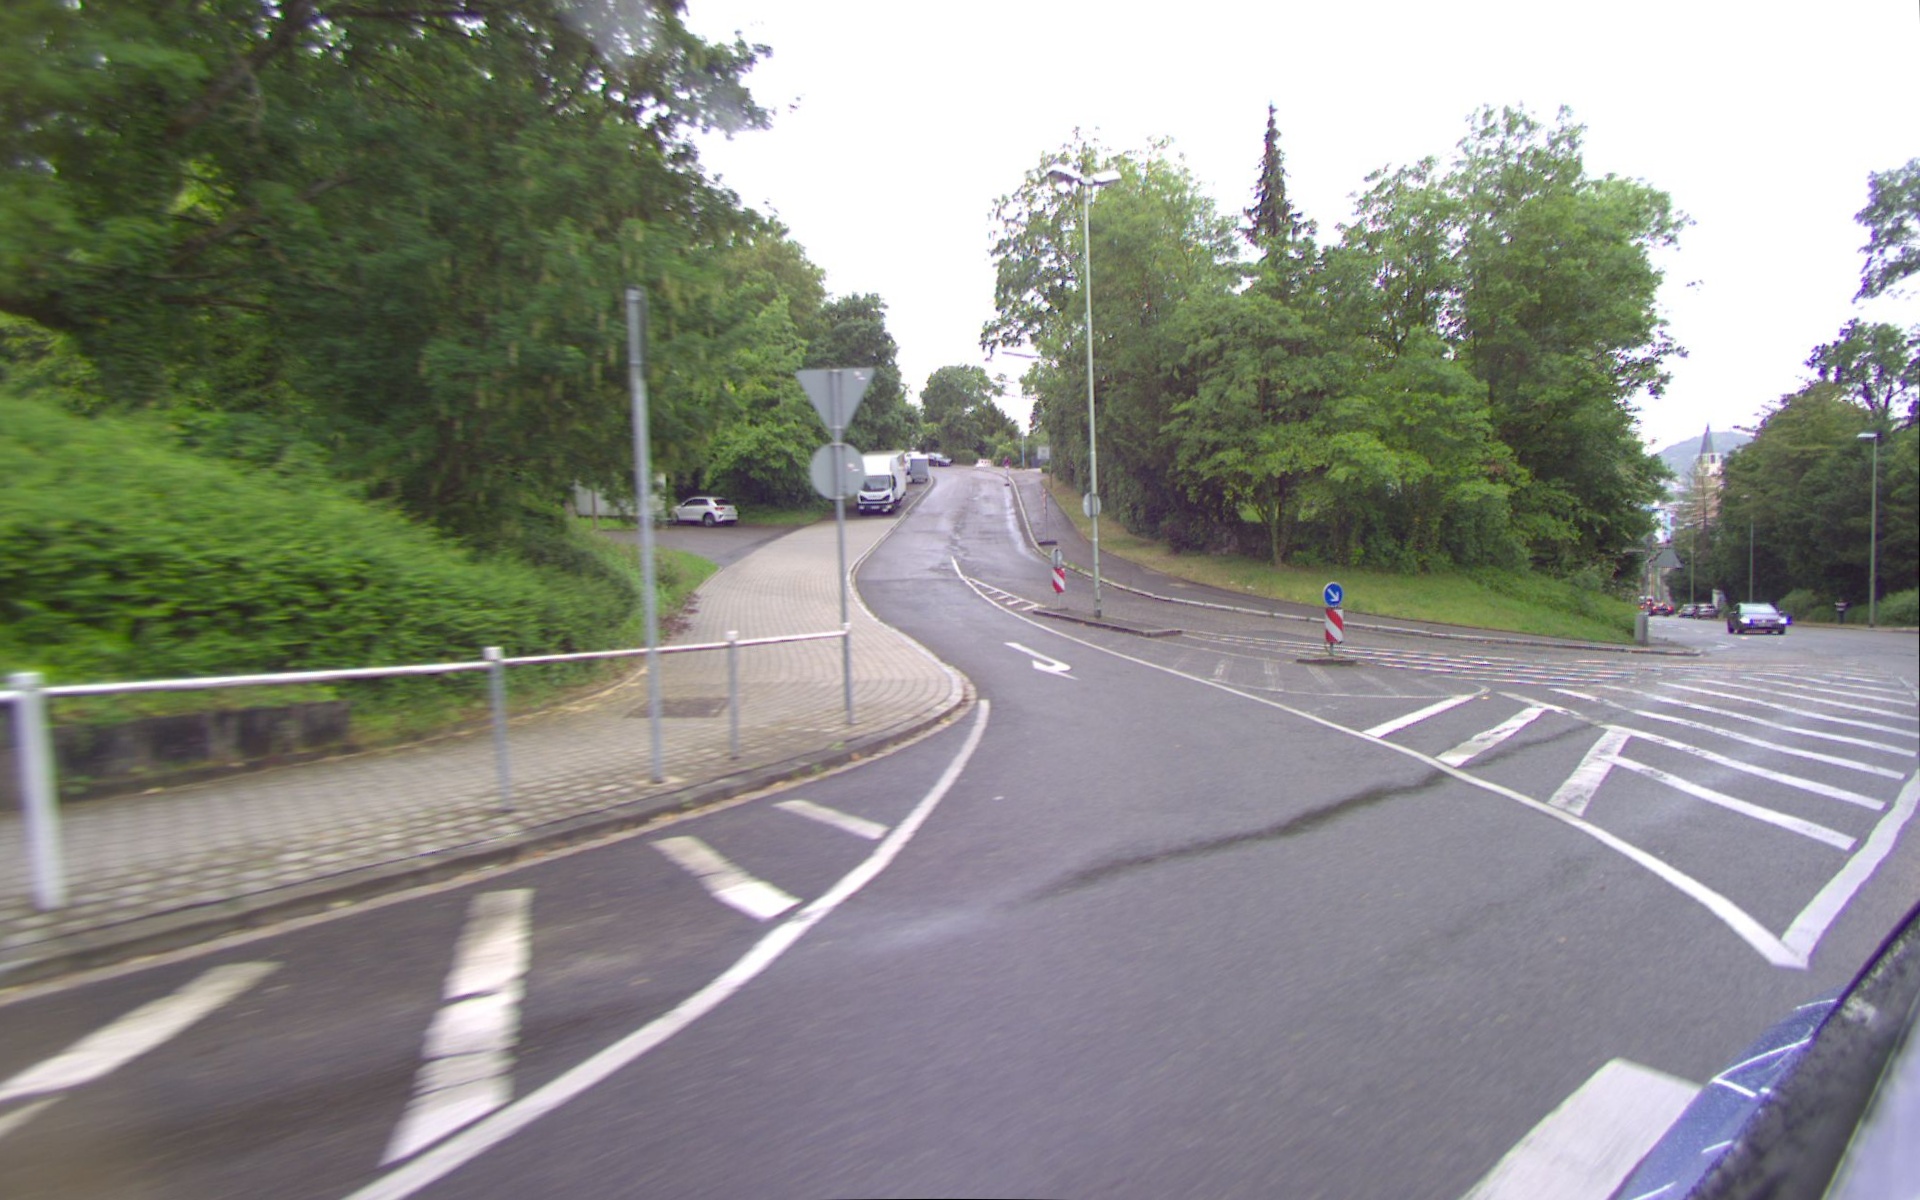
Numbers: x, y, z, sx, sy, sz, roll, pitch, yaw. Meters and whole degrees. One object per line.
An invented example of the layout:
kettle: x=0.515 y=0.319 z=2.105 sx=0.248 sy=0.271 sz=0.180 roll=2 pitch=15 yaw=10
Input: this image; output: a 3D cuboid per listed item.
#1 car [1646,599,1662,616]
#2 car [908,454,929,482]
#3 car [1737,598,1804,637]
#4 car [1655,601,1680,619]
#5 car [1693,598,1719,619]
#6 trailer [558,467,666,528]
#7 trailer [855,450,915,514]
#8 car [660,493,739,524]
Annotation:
car: x=83.812 y=0.874 z=122.292 sx=1.498 sy=2.039 sz=3.952 roll=0 pitch=1 yaw=34
car: x=-3.666 y=-11.556 z=88.751 sx=1.676 sy=2.038 sz=3.895 roll=1 pitch=2 yaw=-3
car: x=38.483 y=0.769 z=48.131 sx=2.022 sy=1.722 sz=3.954 roll=1 pitch=1 yaw=33
car: x=77.807 y=1.079 z=111.337 sx=1.985 sy=1.838 sz=3.954 roll=0 pitch=1 yaw=32
car: x=81.447 y=0.913 z=110.534 sx=1.985 sy=2.284 sz=3.954 roll=0 pitch=1 yaw=32
trailer: x=-17.641 y=-5.157 z=51.309 sx=5.209 sy=2.756 sz=1.984 roll=0 pitch=0 yaw=23
trailer: x=-4.490 y=-7.355 z=61.878 sx=2.239 sy=3.334 sz=8.036 roll=2 pitch=10 yaw=6
car: x=-13.917 y=-4.865 z=53.996 sx=3.956 sy=1.512 sz=1.494 roll=3 pitch=2 yaw=23
